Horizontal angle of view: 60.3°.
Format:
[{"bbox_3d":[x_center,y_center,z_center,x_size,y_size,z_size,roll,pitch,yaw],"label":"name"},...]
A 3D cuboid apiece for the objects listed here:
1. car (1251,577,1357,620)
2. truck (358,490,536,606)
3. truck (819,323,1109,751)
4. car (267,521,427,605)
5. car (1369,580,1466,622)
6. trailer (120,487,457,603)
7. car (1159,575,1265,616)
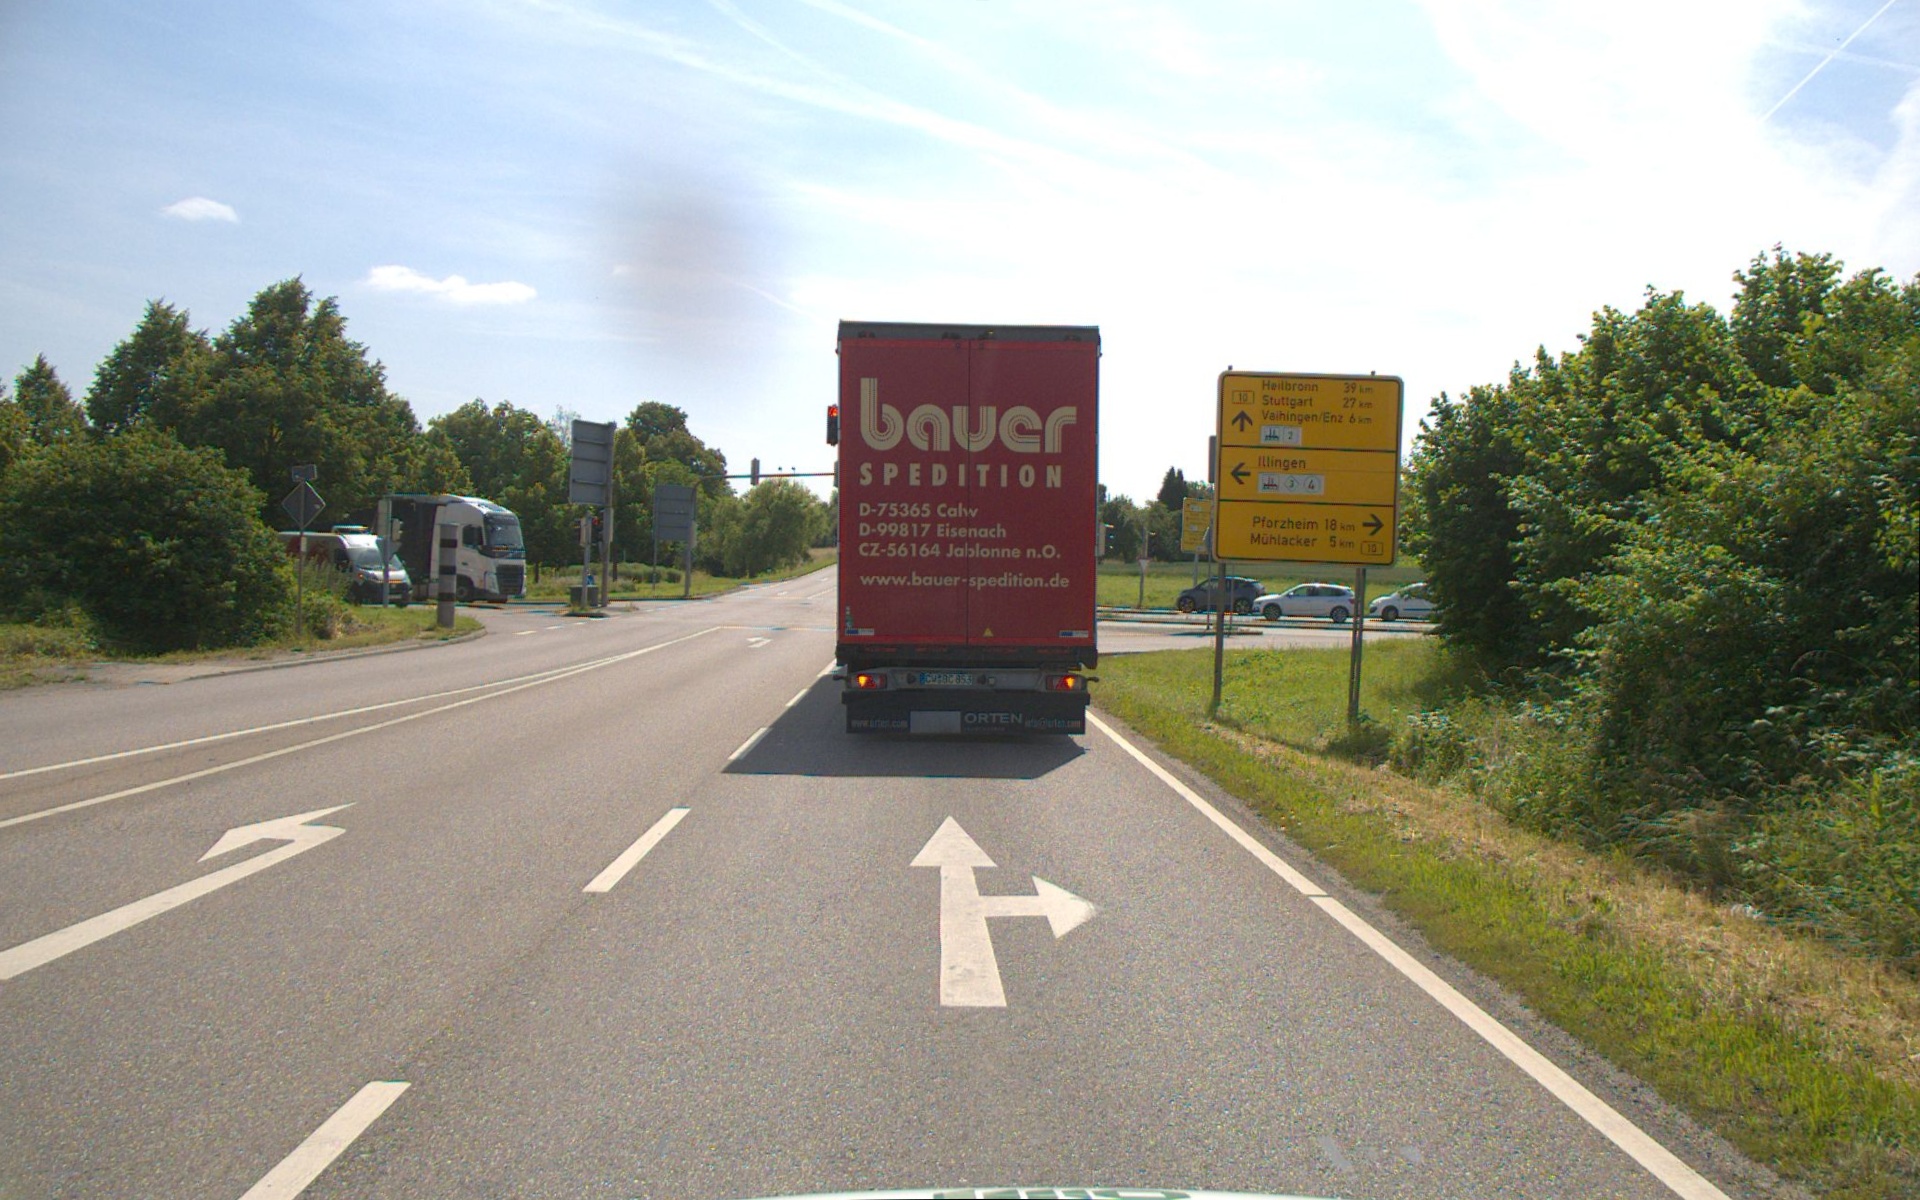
[{"bbox_3d":[13.615,-0.057,65.405,4.012,1.574,1.875,1,0,13],"label":"car"},{"bbox_3d":[-19.269,-1.965,62.236,5.702,4.131,2.801,2,1,14],"label":"truck"},{"bbox_3d":[-0.241,-0.726,23.938,2.679,3.993,16.620,1,1,-2],"label":"truck"},{"bbox_3d":[-20.900,-1.284,56.289,5.863,2.700,2.117,2,1,35],"label":"car"},{"bbox_3d":[18.732,0.046,67.897,3.745,1.662,1.762,1,0,13],"label":"car"},{"bbox_3d":[-26.192,-2.194,64.351,13.397,4.131,2.800,2,1,17],"label":"trailer"},{"bbox_3d":[10.885,-0.206,71.577,4.196,1.685,1.695,1,0,32],"label":"car"}]
